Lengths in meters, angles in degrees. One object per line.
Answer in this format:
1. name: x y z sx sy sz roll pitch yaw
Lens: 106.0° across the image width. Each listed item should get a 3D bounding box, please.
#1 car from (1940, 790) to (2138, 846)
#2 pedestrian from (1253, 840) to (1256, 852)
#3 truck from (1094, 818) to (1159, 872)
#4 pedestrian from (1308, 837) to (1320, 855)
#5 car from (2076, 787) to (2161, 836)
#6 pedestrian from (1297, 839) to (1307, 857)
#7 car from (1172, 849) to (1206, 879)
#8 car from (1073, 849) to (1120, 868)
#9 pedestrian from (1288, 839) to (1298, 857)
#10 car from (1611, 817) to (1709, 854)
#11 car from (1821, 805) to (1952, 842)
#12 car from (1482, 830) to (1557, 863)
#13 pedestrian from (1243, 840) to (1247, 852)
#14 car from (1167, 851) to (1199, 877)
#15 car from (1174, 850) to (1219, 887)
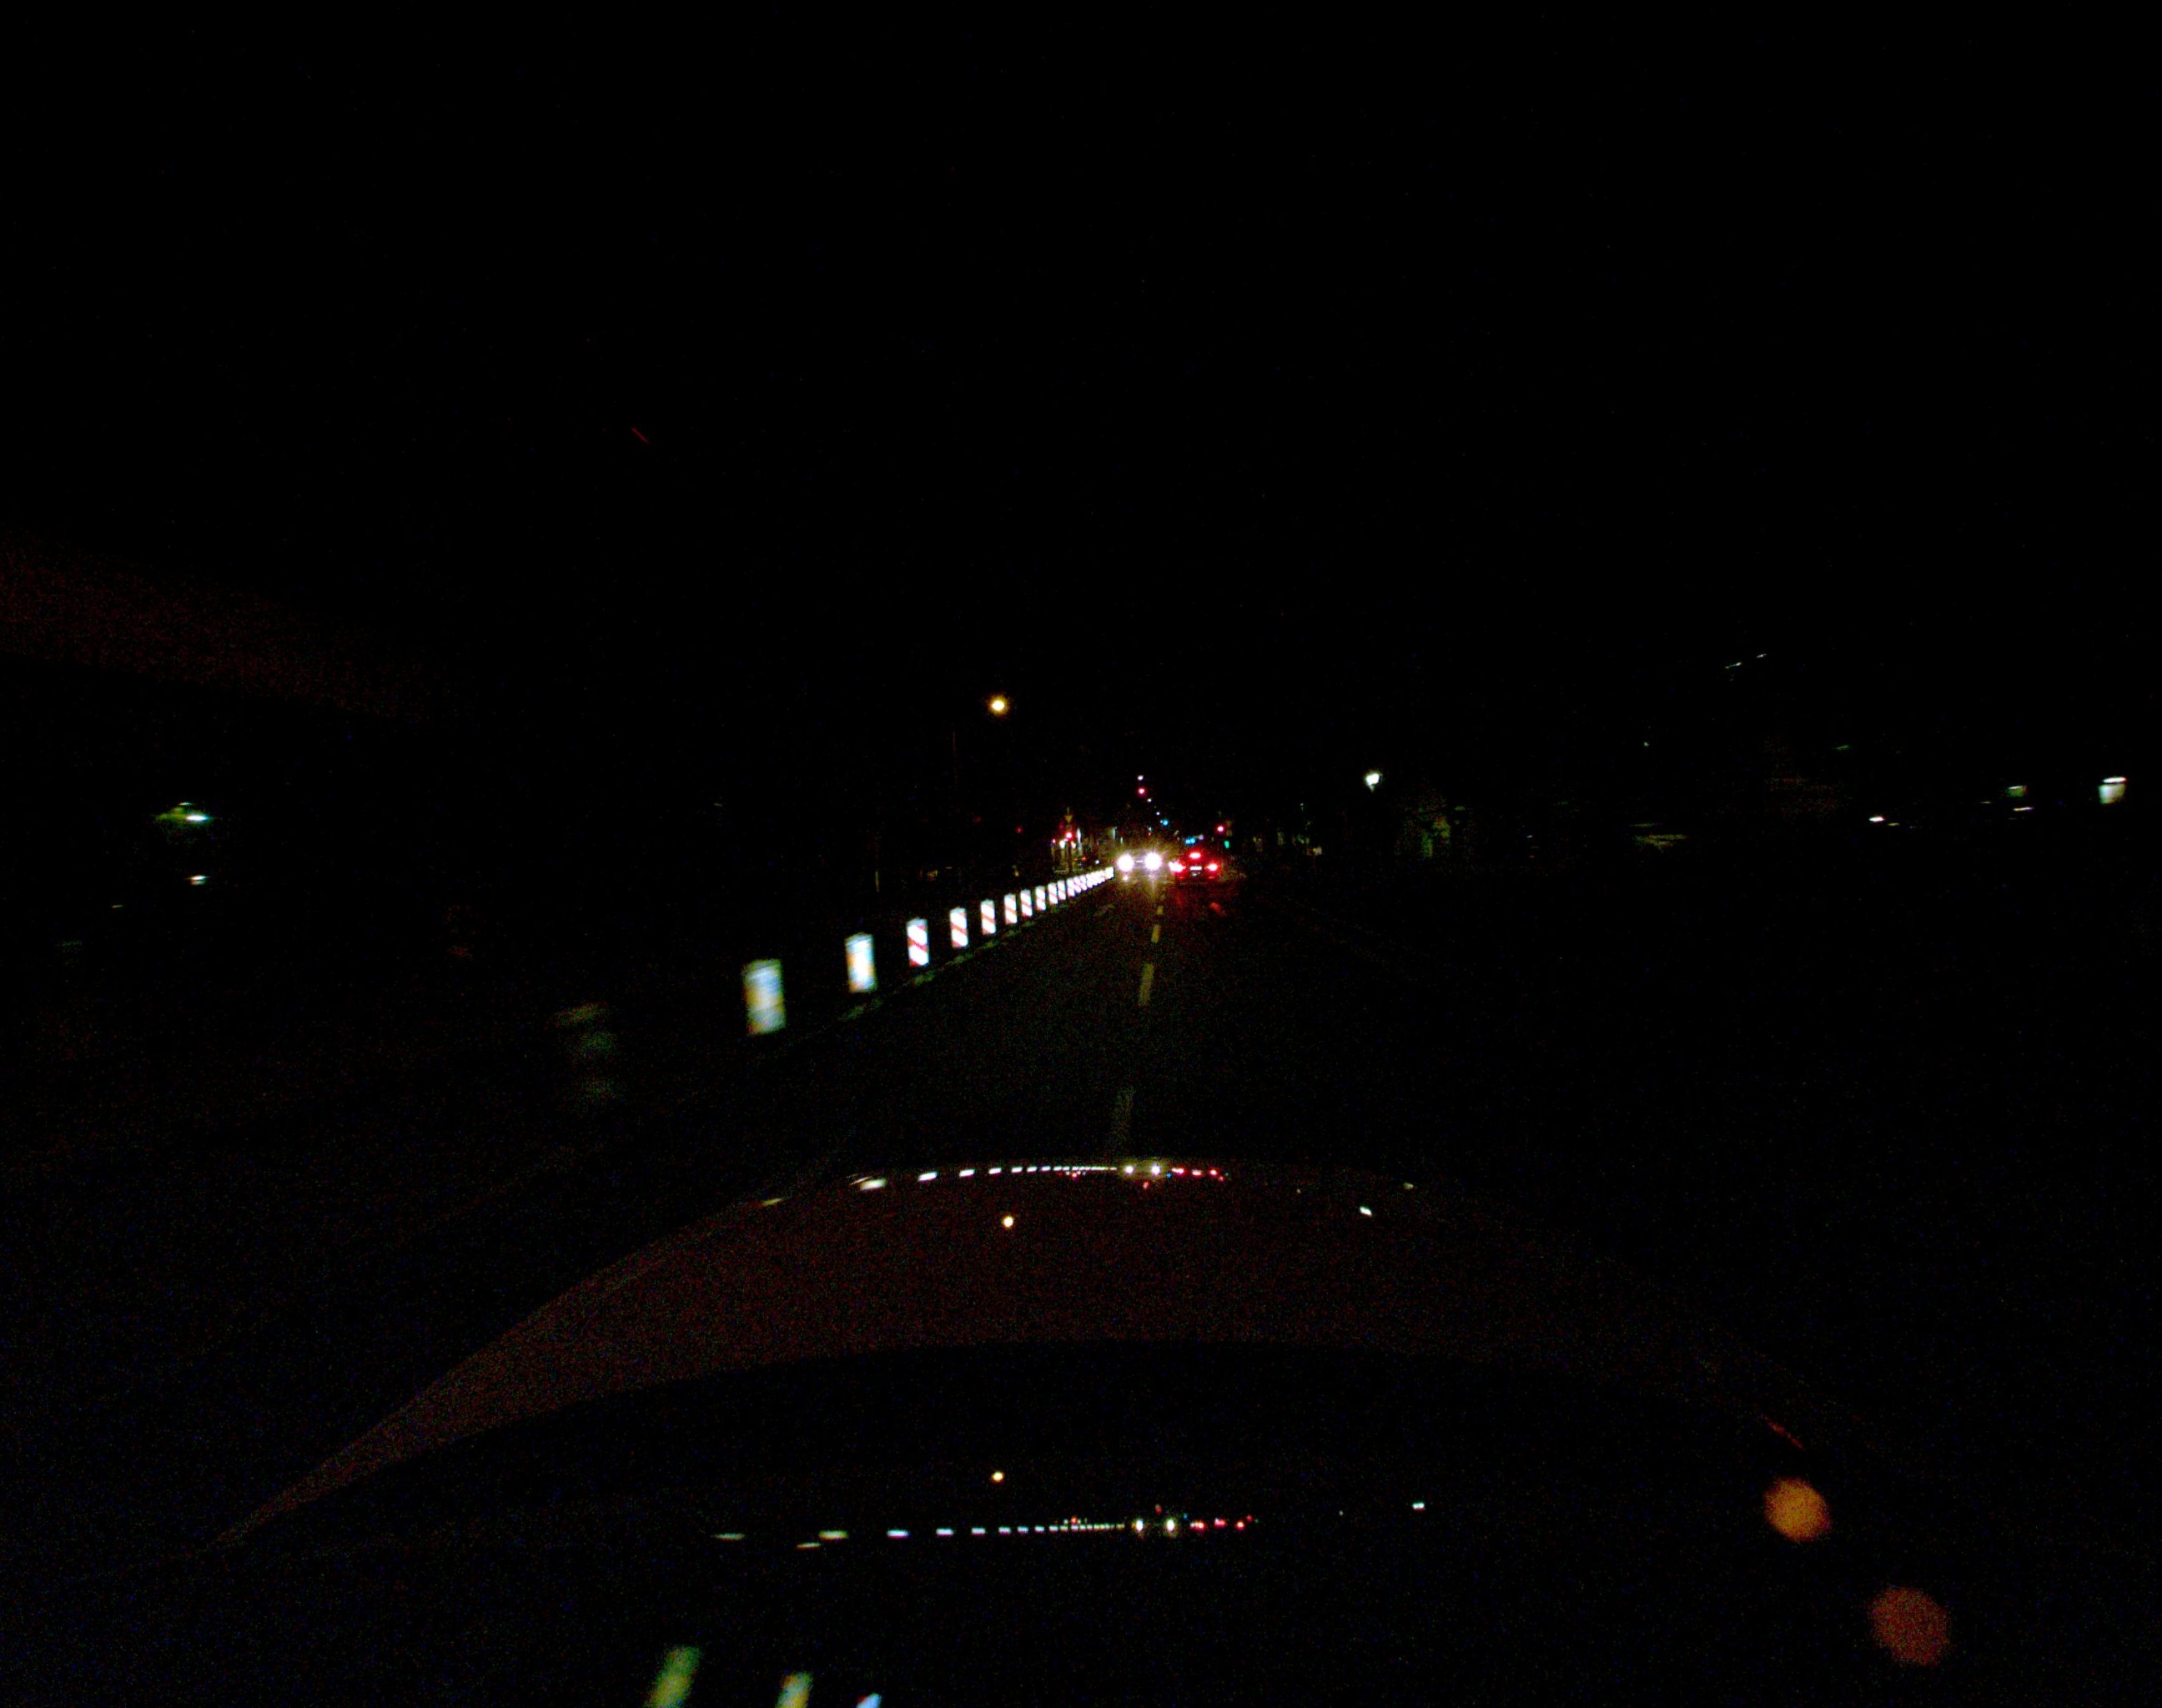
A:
1. car: 30.581 -1.100 26.220 1.759 1.533 4.106 -3 0 6
2. pedestrian: 30.343 -1.448 142.417 0.485 2.013 0.551 -3 0 5
3. truck: 3.338 -0.563 63.287 2.755 3.718 10.081 -4 0 -9
4. pedestrian: 23.811 -0.779 83.222 0.896 1.769 0.908 -4 0 6
5. car: 35.311 -1.426 25.774 1.880 1.512 4.899 -3 0 5
6. pedestrian: 22.565 -0.609 83.233 0.735 1.769 0.908 -4 0 6
7. car: 5.556 0.485 42.281 1.629 1.494 4.007 -1 0 6
8. car: 1.455 0.453 77.365 4.003 1.640 1.985 -3 0 -22
9. pedestrian: 21.728 -0.591 83.395 0.710 1.769 0.908 -4 0 6
10. car: 27.039 -0.814 38.211 1.775 1.533 4.002 -3 0 2
11. car: 36.627 -1.345 37.205 1.984 1.428 4.247 -3 0 5
12. car: 20.964 -0.334 39.138 1.505 1.395 4.489 -3 0 6
13. pedestrian: 28.736 -1.364 142.417 0.529 2.013 0.671 -3 0 5
14. car: 6.130 0.566 49.198 1.721 1.435 4.216 -1 0 5
15. car: 5.025 0.579 35.872 1.795 1.494 4.739 -1 0 7
